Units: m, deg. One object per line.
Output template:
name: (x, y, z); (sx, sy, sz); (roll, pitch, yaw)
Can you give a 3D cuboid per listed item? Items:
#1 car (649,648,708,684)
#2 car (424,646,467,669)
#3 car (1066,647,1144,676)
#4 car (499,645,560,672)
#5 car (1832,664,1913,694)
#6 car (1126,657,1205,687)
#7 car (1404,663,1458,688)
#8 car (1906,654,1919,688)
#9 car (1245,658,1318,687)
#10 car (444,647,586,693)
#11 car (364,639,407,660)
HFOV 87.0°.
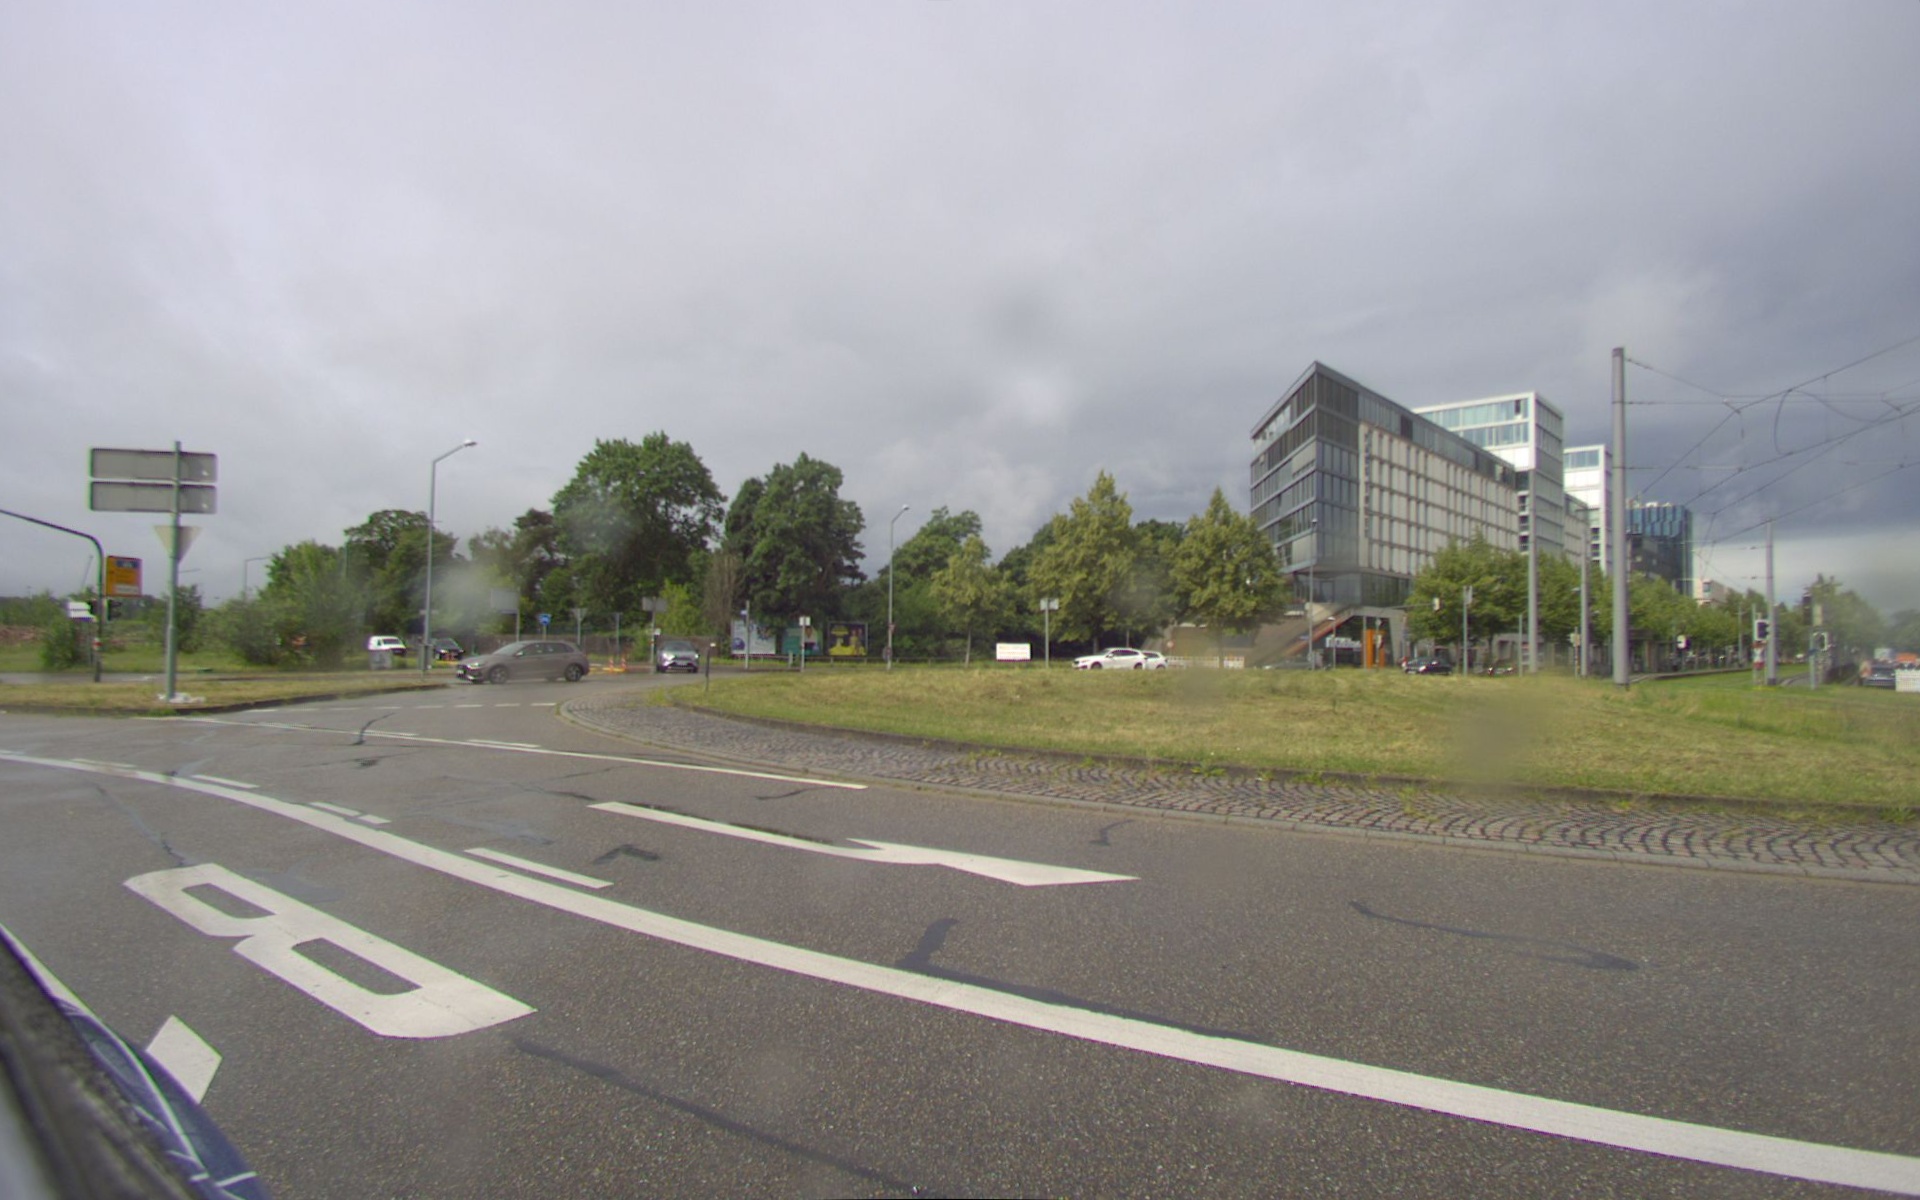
car: (-14.154, 3.301, 51.088); (1.848, 1.676, 4.484); (0, -2, -2)
car: (-39.376, 4.420, 77.409); (1.846, 1.676, 4.490); (4, -6, -40)
car: (7.987, 3.378, 55.782); (3.837, 1.519, 1.732); (2, -4, -17)
car: (-28.451, 3.857, 66.865); (4.478, 1.676, 1.851); (-2, -2, 39)
car: (50.245, 4.325, 55.804); (1.788, 1.529, 3.975); (-1, -3, 18)
car: (12.504, 4.363, 61.578); (4.393, 1.685, 1.873); (3, -5, -24)
car: (29.982, 4.787, 64.395); (3.845, 1.519, 1.729); (4, -5, -43)
car: (44.025, 3.151, 44.798); (1.485, 1.522, 3.485); (-1, -3, 12)
car: (20.314, 4.587, 63.917); (4.393, 1.685, 1.872); (4, -5, -28)
car: (-15.064, 2.341, 34.421); (1.734, 1.424, 4.071); (-3, -4, 40)
car: (-48.435, 4.230, 85.283); (4.483, 1.676, 1.849); (-3, -6, 43)
